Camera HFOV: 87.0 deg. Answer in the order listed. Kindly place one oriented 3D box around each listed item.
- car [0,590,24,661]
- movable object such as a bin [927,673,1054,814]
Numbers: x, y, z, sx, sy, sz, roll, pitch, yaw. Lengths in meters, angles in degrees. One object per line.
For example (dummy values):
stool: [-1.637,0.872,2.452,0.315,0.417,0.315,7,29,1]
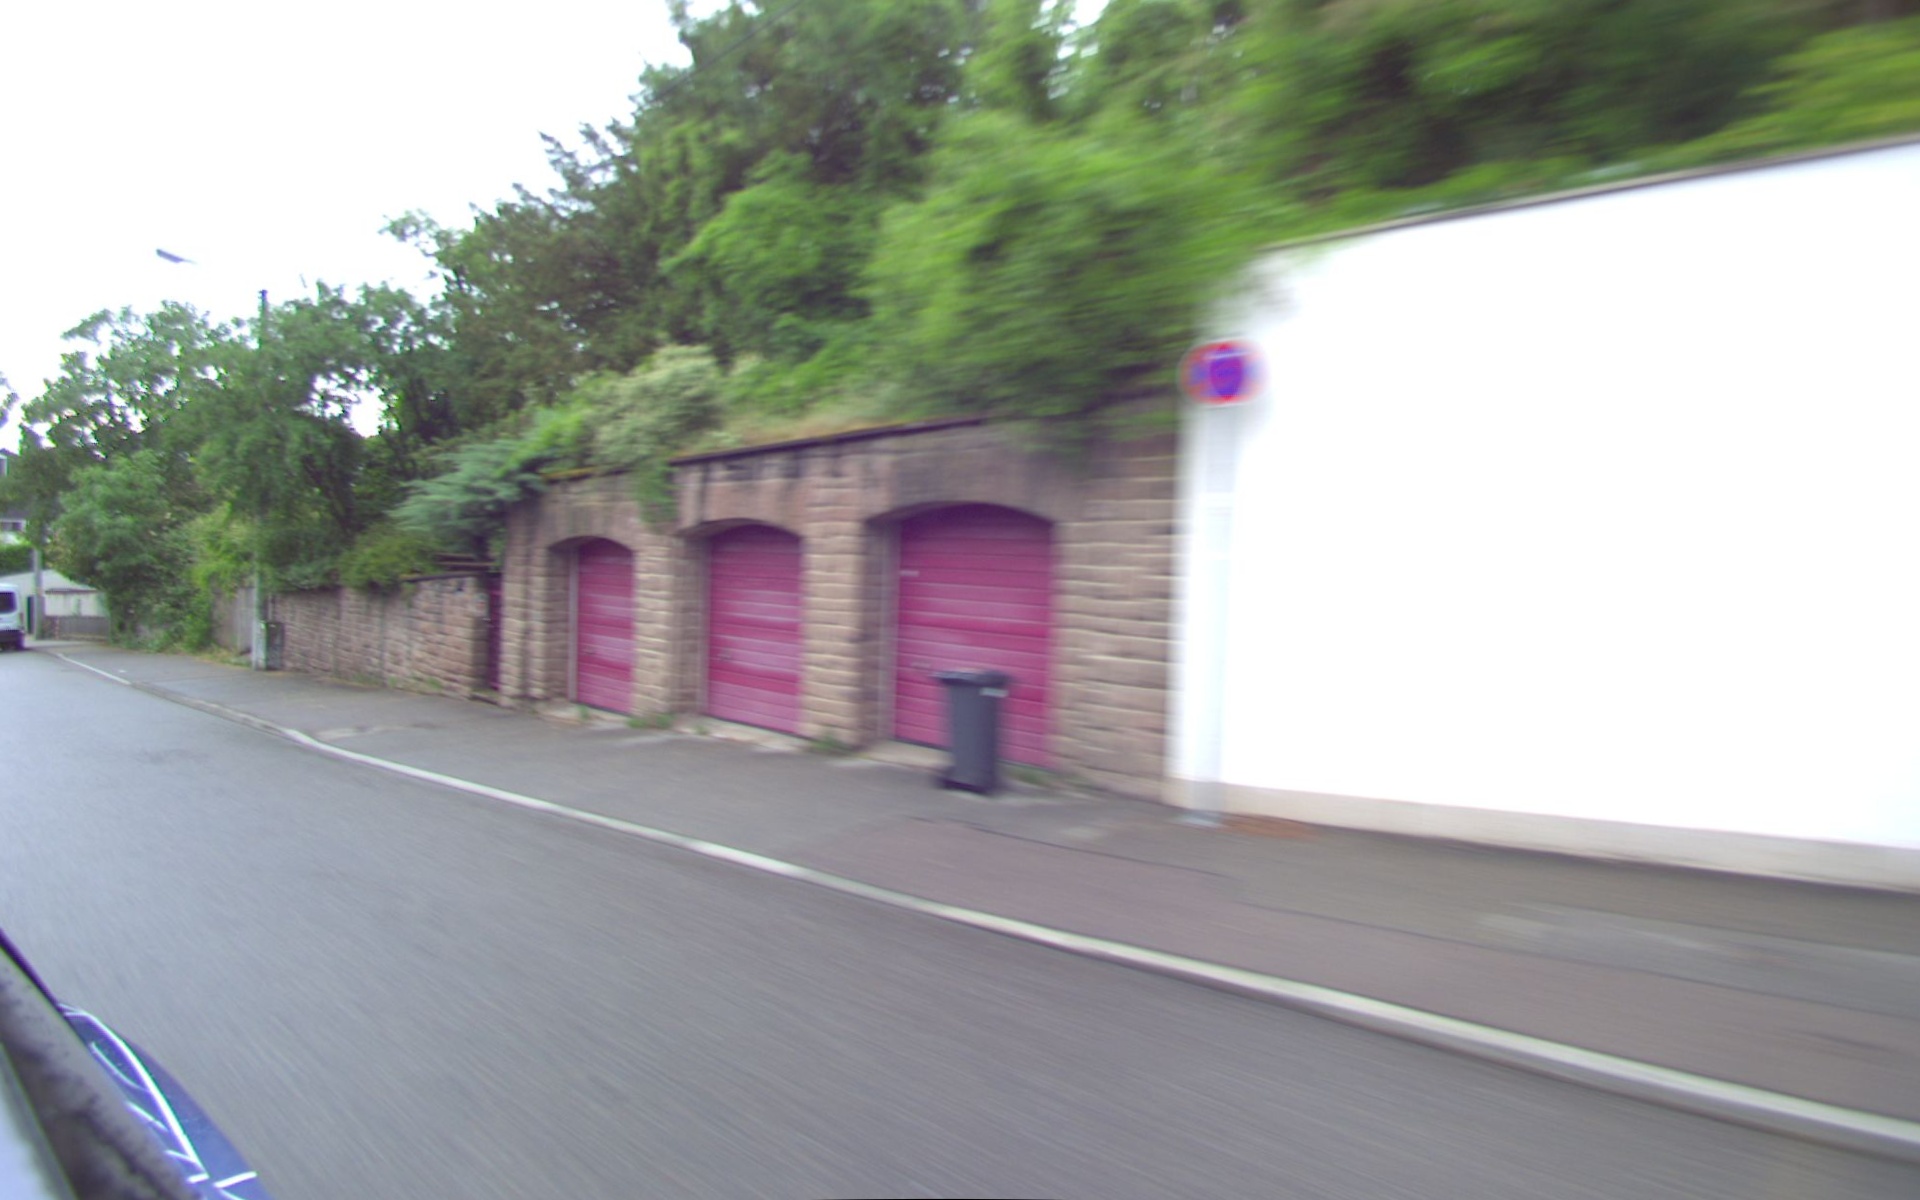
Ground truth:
car: [-37.700,1.024,38.704,6.093,2.569,2.073,-2,0,41]
movable object such as a bin: [0.231,1.053,7.641,0.677,0.926,0.651,-2,0,43]
